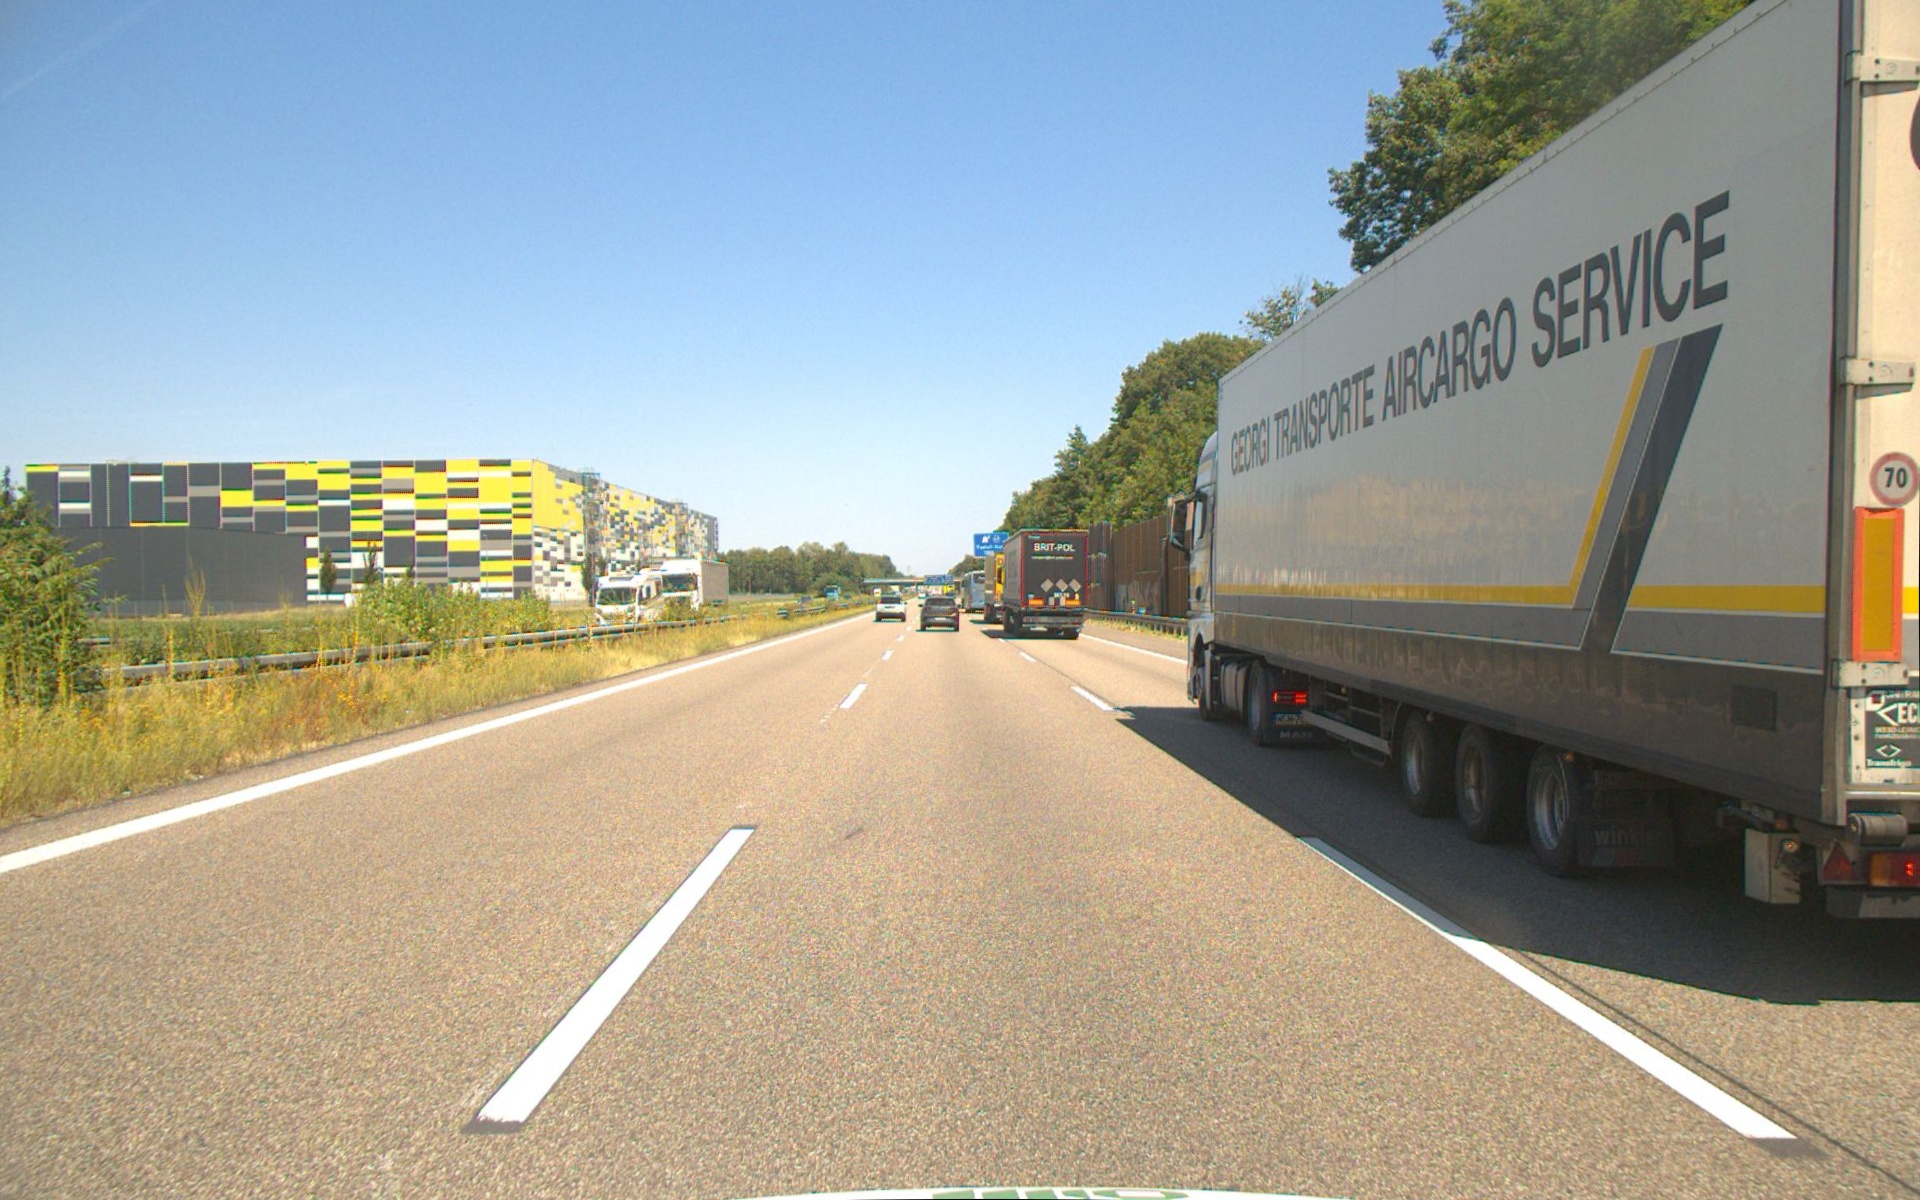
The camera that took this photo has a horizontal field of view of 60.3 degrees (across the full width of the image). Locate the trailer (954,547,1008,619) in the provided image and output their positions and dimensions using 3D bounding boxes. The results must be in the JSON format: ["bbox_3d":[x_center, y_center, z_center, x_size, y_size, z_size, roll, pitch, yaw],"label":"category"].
[{"bbox_3d":[1.143,-0.979,98.146,2.777,4.023,11.681,0,0,-1],"label":"trailer"}]

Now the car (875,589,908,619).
[{"bbox_3d":[-4.083,0.206,99.342,1.953,1.758,4.129,0,0,-2],"label":"car"}]

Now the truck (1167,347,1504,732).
[{"bbox_3d":[4.434,-0.653,20.679,2.942,4.197,5.251,0,0,-1],"label":"truck"}]

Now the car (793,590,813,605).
[{"bbox_3d":[-20.142,-0.277,212.340,1.953,1.709,5.550,-2,-1,-1],"label":"car"}]

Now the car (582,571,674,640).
[{"bbox_3d":[-15.276,0.220,76.711,2.494,3.034,8.085,-1,0,1],"label":"car"}]

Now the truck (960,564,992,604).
[{"bbox_3d":[1.771,-1.784,185.923,3.353,4.198,9.564,-1,0,0],"label":"truck"}]

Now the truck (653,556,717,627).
[{"bbox_3d":[-18.169,-0.552,109.523,3.097,4.503,6.979,-1,0,-1],"label":"truck"}]

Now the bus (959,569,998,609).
[{"bbox_3d":[1.567,-0.992,147.398,3.001,3.385,8.270,-1,0,-2],"label":"bus"}]

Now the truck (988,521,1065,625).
[{"bbox_3d":[2.944,-1.168,75.062,3.025,4.518,6.050,0,0,-2],"label":"truck"}]

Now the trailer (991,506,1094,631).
[{"bbox_3d":[3.179,-1.163,68.147,3.043,4.585,14.891,0,0,-2],"label":"trailer"}]

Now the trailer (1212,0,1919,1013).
[{"bbox_3d":[4.577,-0.691,12.767,2.933,4.364,13.415,1,0,-1],"label":"trailer"}]

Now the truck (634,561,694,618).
[{"bbox_3d":[-22.322,-0.788,125.417,2.595,3.952,10.825,-3,0,-1],"label":"truck"}]

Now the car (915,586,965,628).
[{"bbox_3d":[-0.929,0.283,75.311,2.171,1.821,5.392,-1,0,-1],"label":"car"}]
